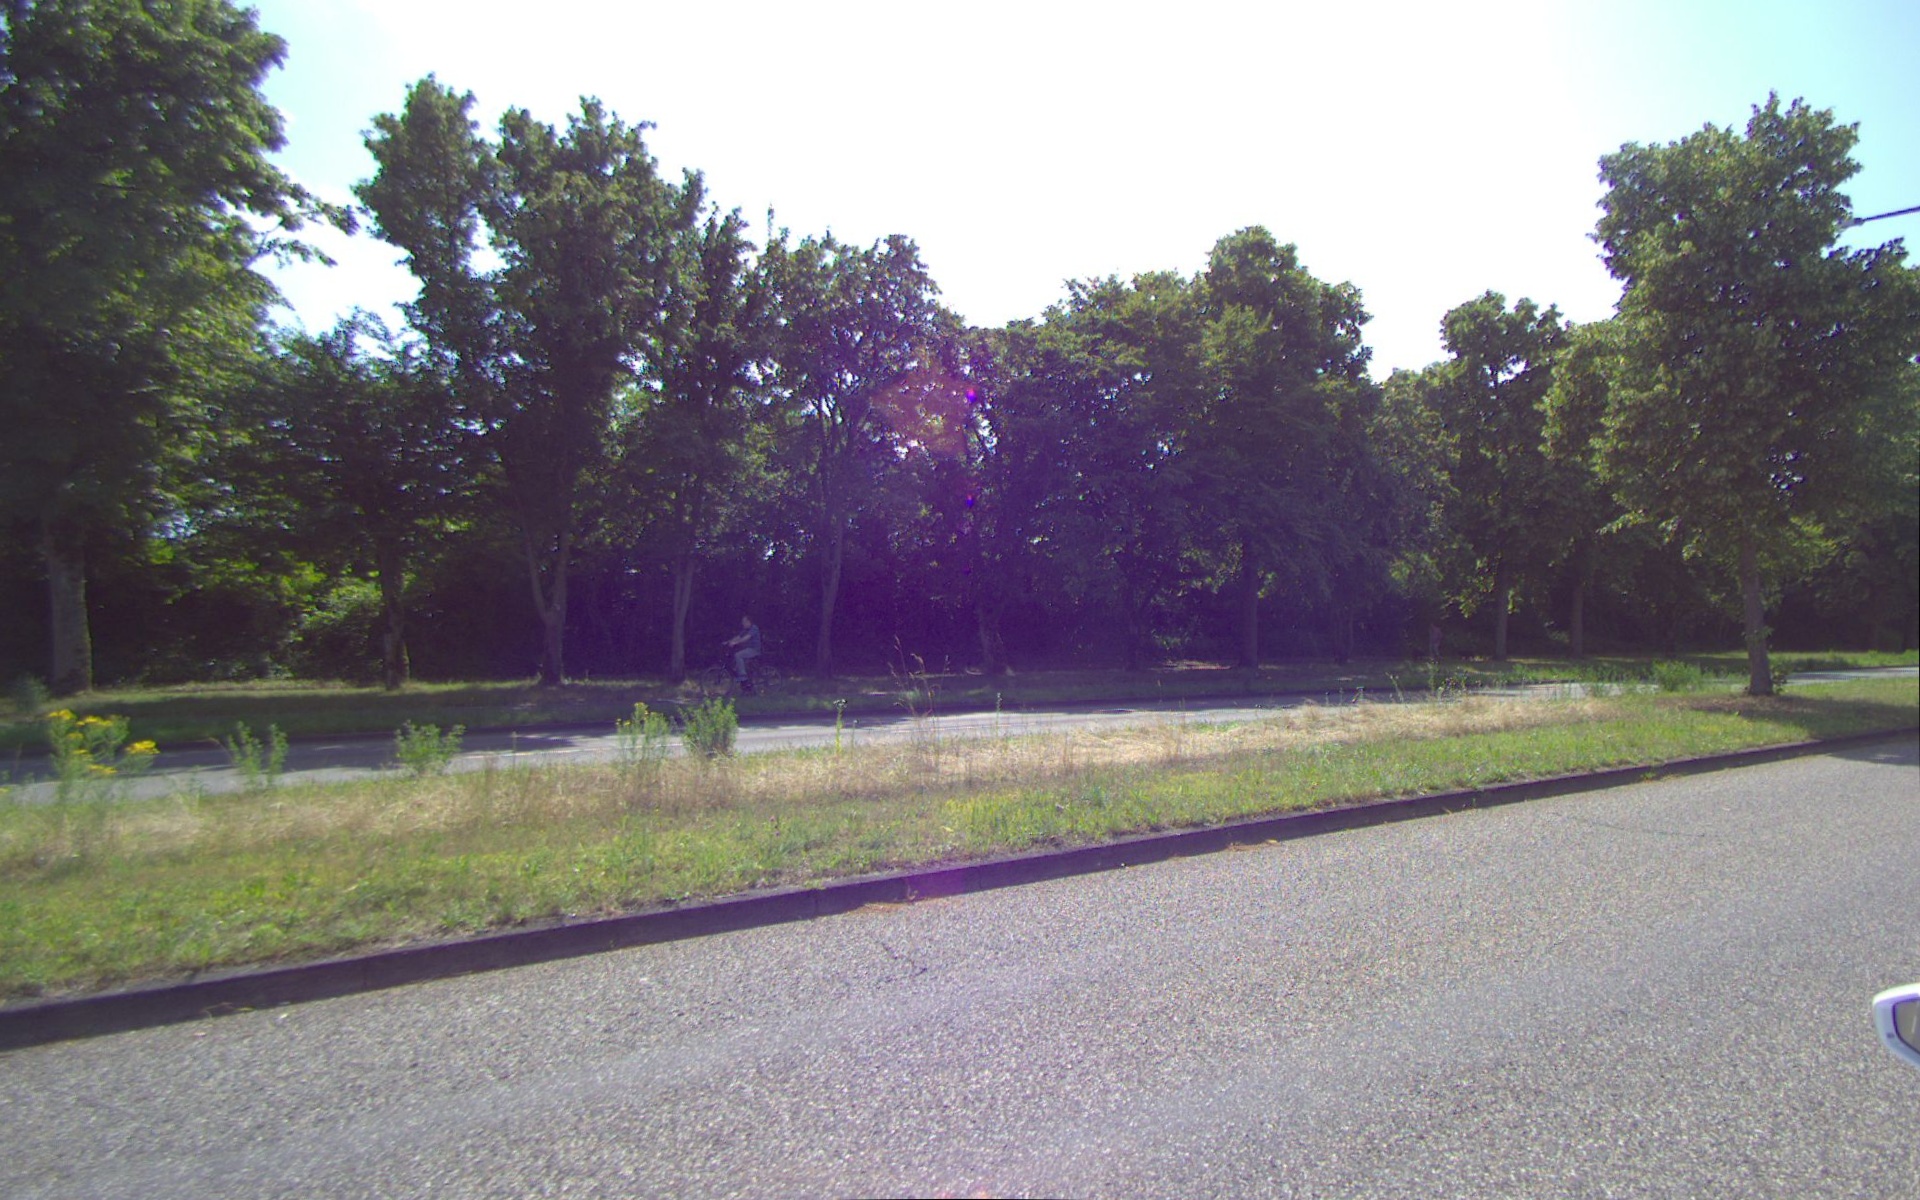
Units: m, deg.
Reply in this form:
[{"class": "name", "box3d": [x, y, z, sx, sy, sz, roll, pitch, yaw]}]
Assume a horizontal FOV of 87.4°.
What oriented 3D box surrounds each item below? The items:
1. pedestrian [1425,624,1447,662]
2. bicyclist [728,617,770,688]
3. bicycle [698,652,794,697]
[{"class": "pedestrian", "box3d": [21.318, 1.911, 45.027, 0.648, 1.652, 0.641, 1, 0, -31]}, {"class": "bicyclist", "box3d": [-4.497, 1.111, 21.423, 0.720, 1.467, 0.615, 1, -1, -29]}, {"class": "bicycle", "box3d": [-4.545, 1.580, 21.386, 1.891, 0.890, 0.615, 1, -1, -29]}]
